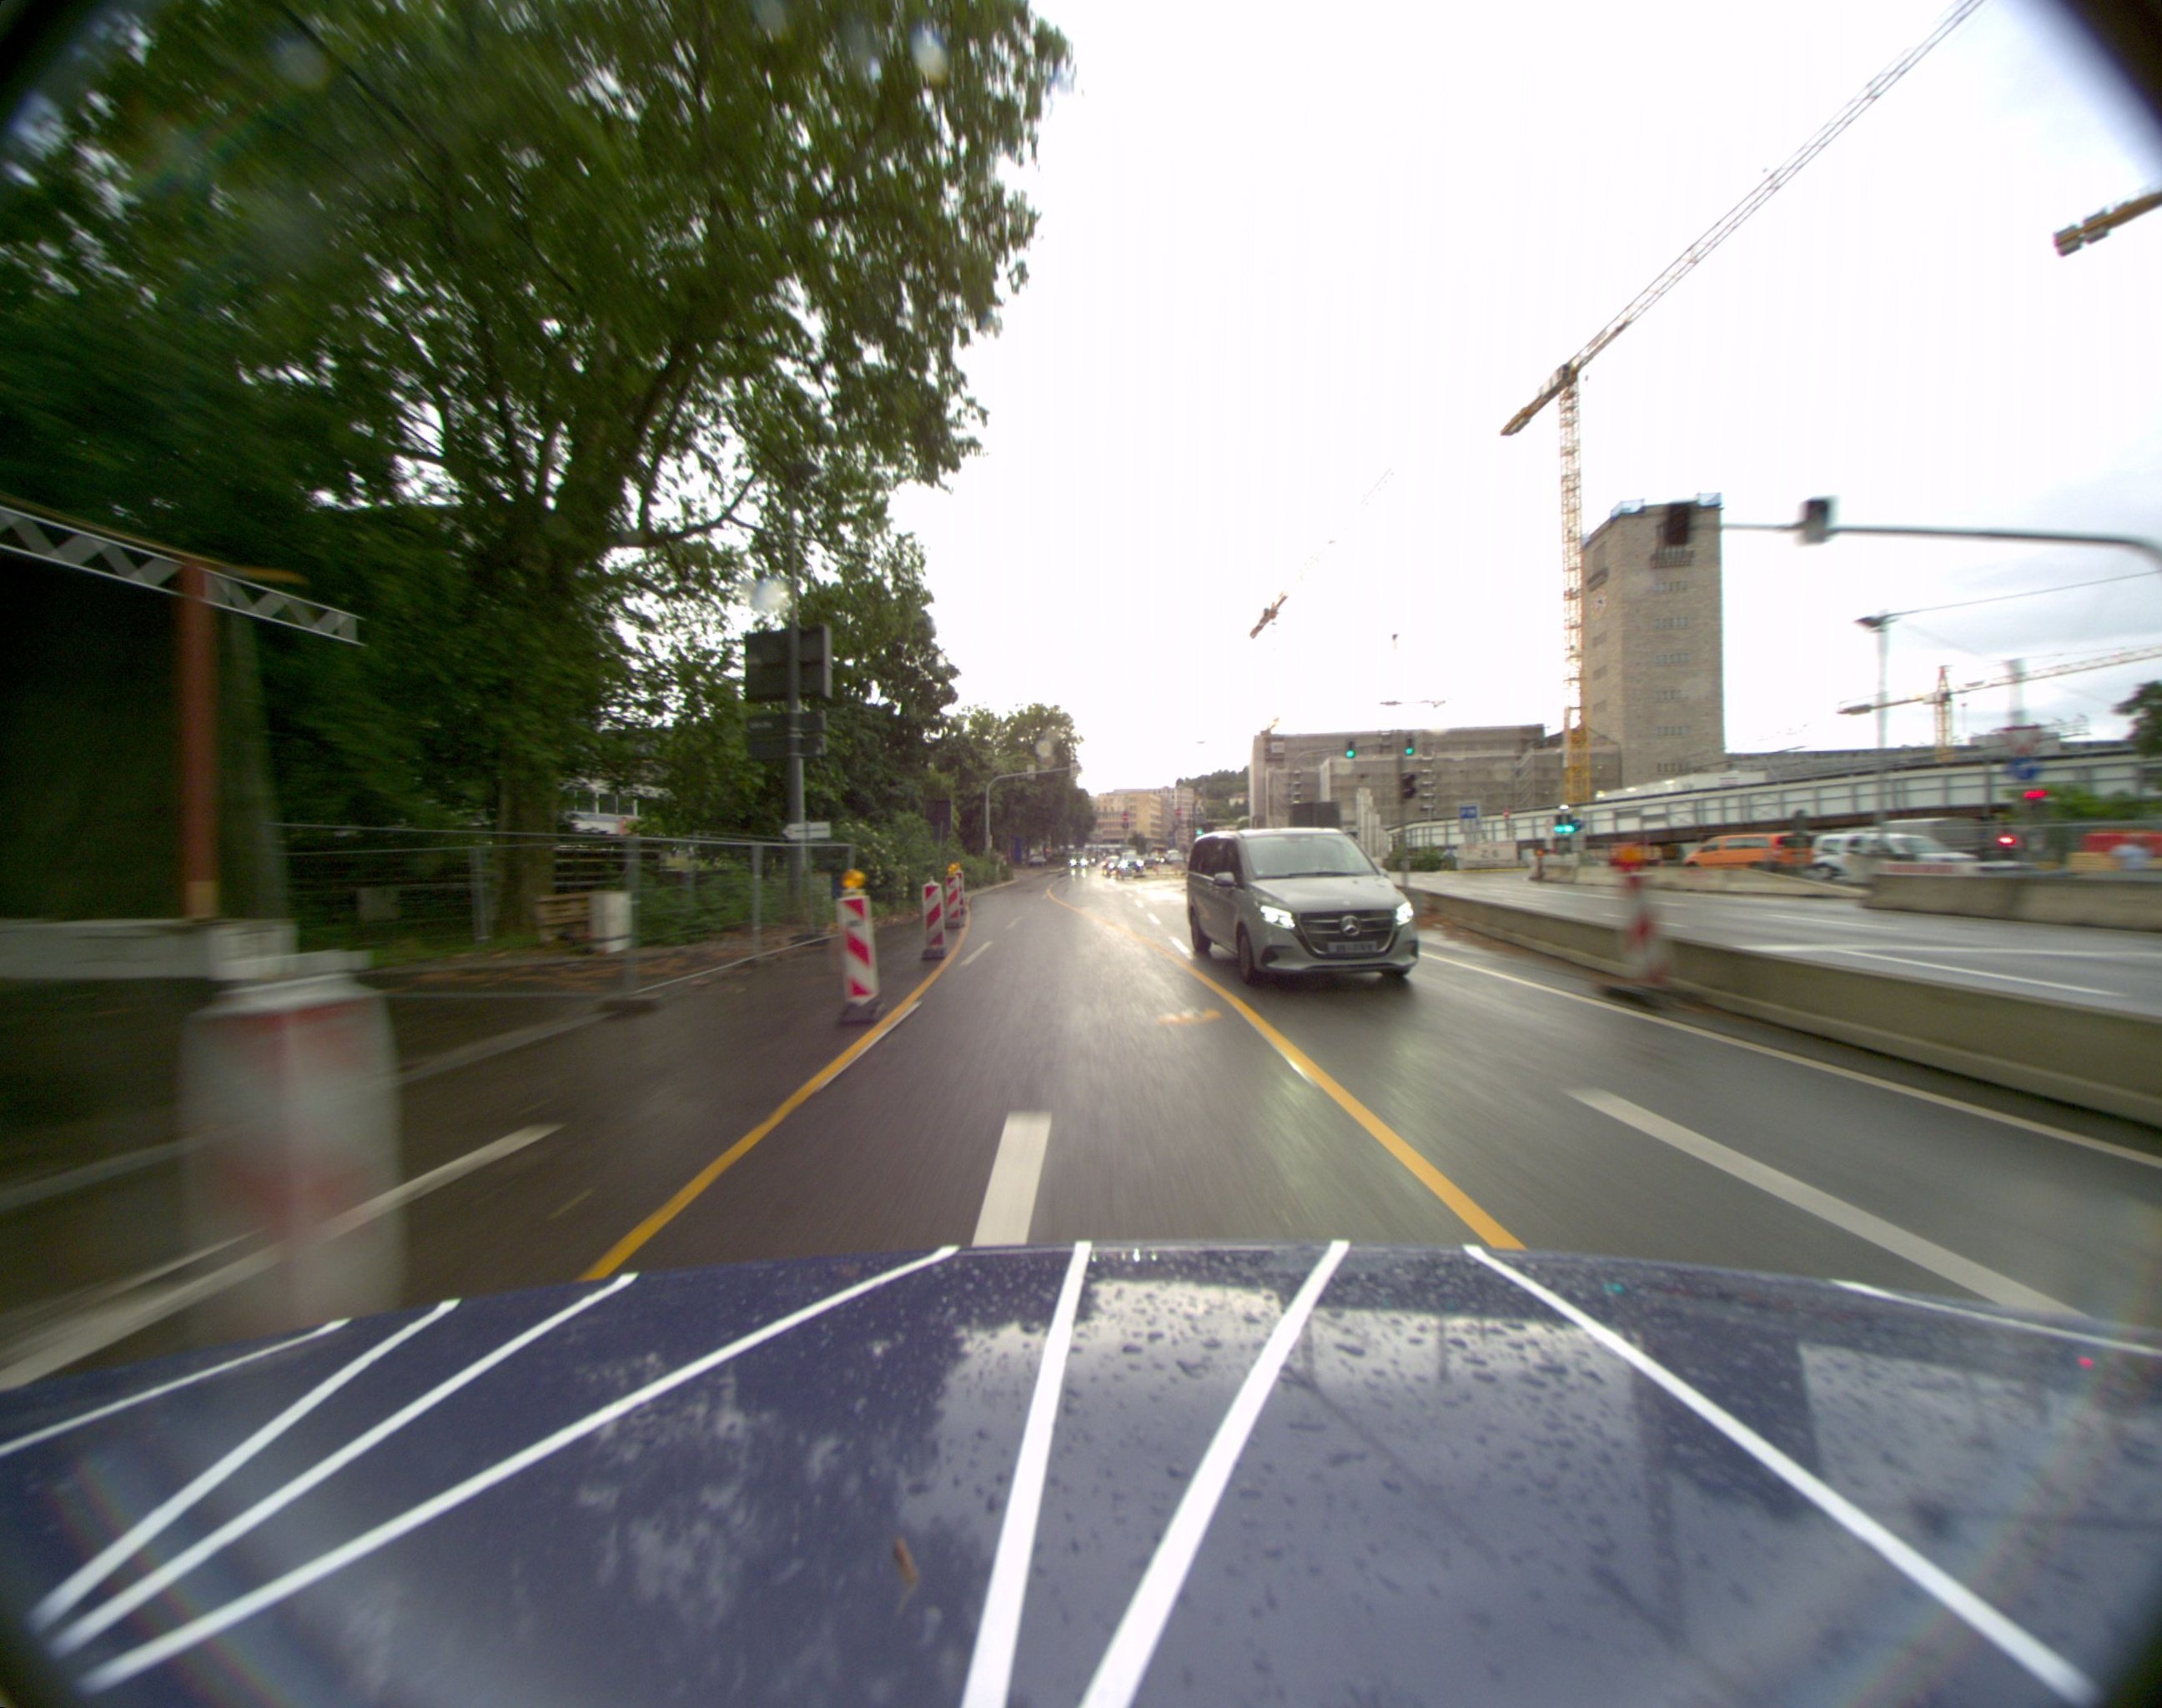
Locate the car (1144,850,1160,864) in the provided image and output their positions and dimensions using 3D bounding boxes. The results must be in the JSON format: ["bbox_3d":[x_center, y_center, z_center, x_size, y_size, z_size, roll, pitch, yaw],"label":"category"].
[{"bbox_3d":[9.653,0.356,103.938,1.998,1.803,4.294,0,0,3],"label":"car"}]

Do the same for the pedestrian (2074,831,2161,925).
[{"bbox_3d":[23.176,0.515,16.870,1.170,2.002,1.186,-1,1,42],"label":"pedestrian"}]

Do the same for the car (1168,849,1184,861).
[{"bbox_3d":[12.913,0.162,103.170,1.832,1.643,4.574,0,0,3],"label":"car"}]

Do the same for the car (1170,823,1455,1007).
[{"bbox_3d":[2.731,0.654,10.581,1.999,1.845,5.356,-2,0,-4],"label":"car"}]

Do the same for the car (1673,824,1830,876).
[{"bbox_3d":[29.808,-0.200,34.100,1.999,2.088,5.581,1,0,-1],"label":"car"}]

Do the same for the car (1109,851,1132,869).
[{"bbox_3d":[4.015,0.584,76.444,1.811,1.455,4.920,11,1,5],"label":"car"}]

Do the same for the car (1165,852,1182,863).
[{"bbox_3d":[13.278,0.480,109.662,2.172,1.564,4.001,0,0,3],"label":"car"}]

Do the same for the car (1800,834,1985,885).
[{"bbox_3d":[29.788,0.171,28.170,1.849,1.751,4.798,0,0,2],"label":"car"}]

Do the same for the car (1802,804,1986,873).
[{"bbox_3d":[38.705,-0.699,36.514,2.279,3.048,6.169,0,1,1],"label":"car"}]
